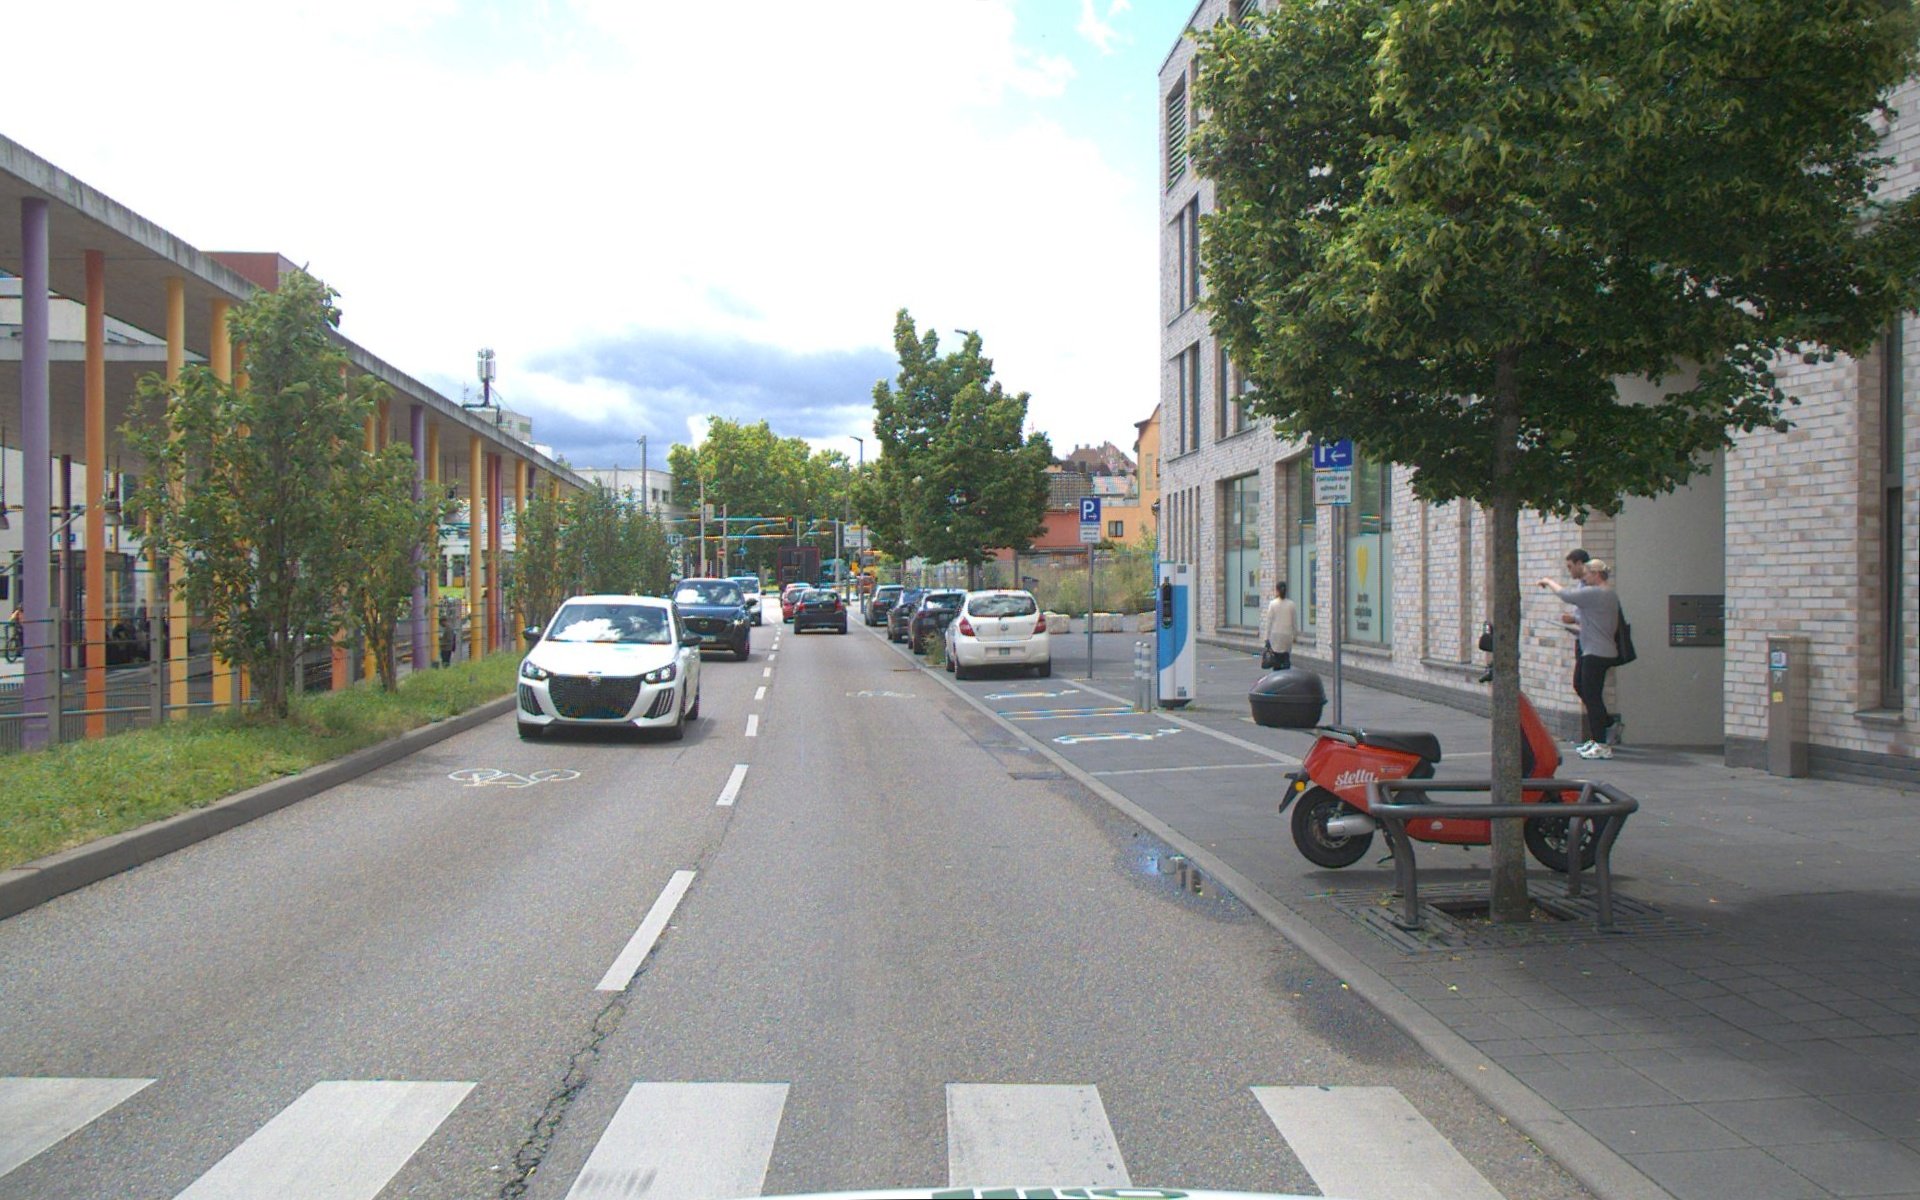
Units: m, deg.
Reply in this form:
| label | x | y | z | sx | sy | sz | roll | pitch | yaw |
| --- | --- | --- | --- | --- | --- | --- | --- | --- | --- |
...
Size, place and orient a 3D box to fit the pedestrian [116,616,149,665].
| label | x | y | z | sx | sy | sz | roll | pitch | yaw |
| --- | --- | --- | --- | --- | --- | --- | --- | --- | --- |
| pedestrian | -24.297 | 1.197 | 48.589 | 0.638 | 1.403 | 0.701 | 1 | 1 | -5 |

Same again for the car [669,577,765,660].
| label | x | y | z | sx | sy | sz | roll | pitch | yaw |
| --- | --- | --- | --- | --- | --- | --- | --- | --- | --- |
| car | -5.162 | 0.371 | 35.491 | 1.883 | 1.633 | 4.619 | 1 | 0 | -7 |

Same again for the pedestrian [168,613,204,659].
| label | x | y | z | sx | sy | sz | roll | pitch | yaw |
| --- | --- | --- | --- | --- | --- | --- | --- | --- | --- |
| pedestrian | -24.490 | 1.126 | 52.347 | 0.806 | 1.403 | 0.701 | 1 | 1 | -5 |

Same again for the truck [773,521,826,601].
| label | x | y | z | sx | sy | sz | roll | pitch | yaw |
| --- | --- | --- | --- | --- | --- | --- | --- | --- | --- |
| truck | -10.101 | -2.334 | 104.177 | 3.141 | 4.615 | 9.017 | 1 | -1 | -5 |

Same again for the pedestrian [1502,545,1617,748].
| label | x | y | z | sx | sy | sz | roll | pitch | yaw |
| --- | --- | --- | --- | --- | --- | --- | --- | --- | --- |
| pedestrian | 5.446 | 0.415 | 15.044 | 0.722 | 1.797 | 0.622 | -1 | -1 | -12 |

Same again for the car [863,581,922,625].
| label | x | y | z | sx | sy | sz | roll | pitch | yaw |
| --- | --- | --- | --- | --- | --- | --- | --- | --- | --- |
| car | -2.519 | 0.095 | 60.389 | 1.748 | 1.477 | 4.469 | -2 | 1 | -7 |

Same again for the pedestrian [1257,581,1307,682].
| label | x | y | z | sx | sy | sz | roll | pitch | yaw |
| --- | --- | --- | --- | --- | --- | --- | --- | --- | --- |
| pedestrian | 4.879 | 0.467 | 25.103 | 0.594 | 1.498 | 0.791 | -2 | 0 | 2 |

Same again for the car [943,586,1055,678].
| label | x | y | z | sx | sy | sz | roll | pitch | yaw |
| --- | --- | --- | --- | --- | --- | --- | --- | --- | --- |
| car | 0.642 | 0.520 | 29.960 | 1.659 | 1.509 | 3.795 | -2 | 1 | -4 |

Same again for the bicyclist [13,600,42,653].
| label | x | y | z | sx | sy | sz | roll | pitch | yaw |
| --- | --- | --- | --- | --- | --- | --- | --- | --- | --- |
| bicyclist | -28.504 | 0.816 | 50.557 | 0.474 | 1.621 | 0.681 | 1 | -2 | -3 |

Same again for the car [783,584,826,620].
| label | x | y | z | sx | sy | sz | roll | pitch | yaw |
| --- | --- | --- | --- | --- | --- | --- | --- | --- | --- |
| car | -6.663 | 0.071 | 70.450 | 1.679 | 1.417 | 3.803 | -1 | 1 | -7 |

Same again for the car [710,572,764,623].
| label | x | y | z | sx | sy | sz | roll | pitch | yaw |
| --- | --- | --- | --- | --- | --- | --- | --- | --- | --- |
| car | -9.067 | -0.108 | 66.904 | 1.967 | 1.950 | 5.053 | 1 | 0 | -10 |

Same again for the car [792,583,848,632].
| label | x | y | z | sx | sy | sz | roll | pitch | yaw |
| --- | --- | --- | --- | --- | --- | --- | --- | --- | --- |
| car | -4.551 | 0.223 | 53.533 | 1.693 | 1.482 | 3.804 | -1 | 1 | -6 |

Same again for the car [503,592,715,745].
| label | x | y | z | sx | sy | sz | roll | pitch | yaw |
| --- | --- | --- | --- | --- | --- | --- | --- | --- | --- |
| car | -3.755 | 0.673 | 18.306 | 1.776 | 1.494 | 3.904 | 1 | 0 | -5 |

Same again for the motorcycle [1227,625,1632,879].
| label | x | y | z | sx | sy | sz | roll | pitch | yaw |
| --- | --- | --- | --- | --- | --- | --- | --- | --- | --- |
| motorcycle | 2.520 | 0.822 | 9.055 | 2.006 | 1.288 | 0.673 | -2 | -1 | 12 |

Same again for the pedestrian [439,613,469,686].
| label | x | y | z | sx | sy | sz | roll | pitch | yaw |
| --- | --- | --- | --- | --- | --- | --- | --- | --- | --- |
| pedestrian | -13.085 | 1.274 | 42.780 | 0.575 | 1.862 | 0.709 | 1 | -2 | -4 |

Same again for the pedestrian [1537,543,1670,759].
| label | x | y | z | sx | sy | sz | roll | pitch | yaw |
| --- | --- | --- | --- | --- | --- | --- | --- | --- | --- |
| pedestrian | 5.552 | 0.427 | 14.293 | 0.721 | 1.797 | 0.753 | -1 | -1 | -19 |

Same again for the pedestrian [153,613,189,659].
| label | x | y | z | sx | sy | sz | roll | pitch | yaw |
| --- | --- | --- | --- | --- | --- | --- | --- | --- | --- |
| pedestrian | -24.475 | 1.107 | 51.325 | 0.806 | 1.403 | 0.701 | 1 | 1 | -5 |

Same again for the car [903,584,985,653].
| label | x | y | z | sx | sy | sz | roll | pitch | yaw |
| --- | --- | --- | --- | --- | --- | --- | --- | --- | --- |
| car | -0.429 | 0.399 | 39.254 | 1.659 | 1.486 | 4.143 | -2 | 1 | -4 |

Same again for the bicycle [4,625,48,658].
| label | x | y | z | sx | sy | sz | roll | pitch | yaw |
| --- | --- | --- | --- | --- | --- | --- | --- | --- | --- |
| bicycle | -28.505 | 1.275 | 50.521 | 0.474 | 0.980 | 1.611 | 1 | -2 | -3 |

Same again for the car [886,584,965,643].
| label | x | y | z | sx | sy | sz | roll | pitch | yaw |
| --- | --- | --- | --- | --- | --- | --- | --- | --- | --- |
| car | -1.006 | 0.341 | 45.766 | 1.829 | 1.476 | 4.638 | -2 | 1 | -5 |
